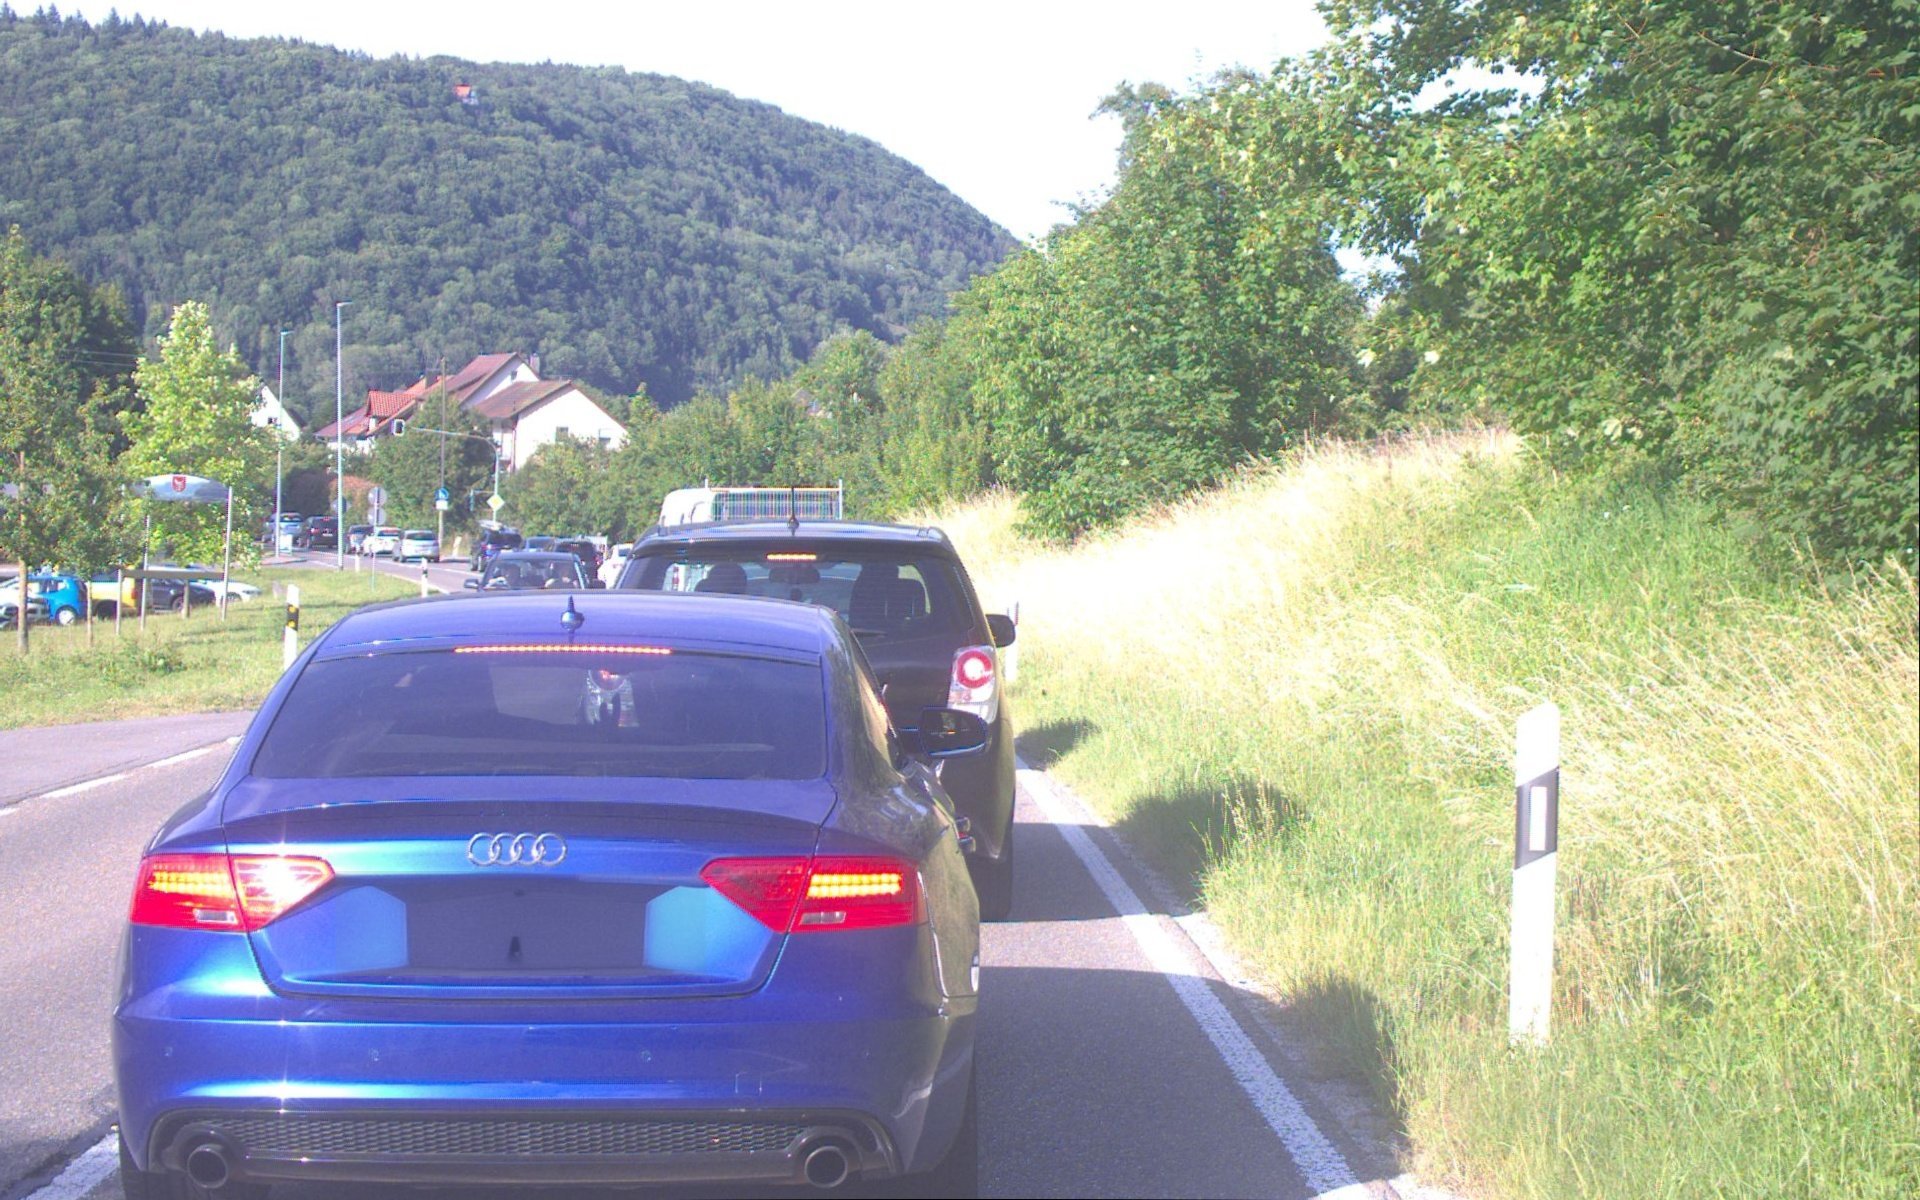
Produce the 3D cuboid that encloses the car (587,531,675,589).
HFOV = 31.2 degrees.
[{"bbox_3d":[-8.638,-1.049,90.091,1.845,1.477,4.001,1,1,-12],"label":"car"}]

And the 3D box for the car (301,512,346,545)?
[{"bbox_3d":[-34.283,-3.821,185.078,1.845,1.706,4.001,1,1,-18],"label":"car"}]

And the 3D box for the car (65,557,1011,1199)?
[{"bbox_3d":[-0.782,0.626,8.347,1.754,1.425,3.846,1,1,0],"label":"car"}]

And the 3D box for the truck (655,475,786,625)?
[{"bbox_3d":[-4.340,-0.893,62.547,2.229,2.561,6.708,1,1,-4],"label":"truck"}]

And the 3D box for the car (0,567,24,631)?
[{"bbox_3d":[-27.385,-0.055,92.293,3.986,1.705,2.000,1,0,-3],"label":"car"}]

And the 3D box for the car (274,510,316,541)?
[{"bbox_3d":[-37.643,-4.188,194.506,1.845,1.706,4.001,1,1,-18],"label":"car"}]

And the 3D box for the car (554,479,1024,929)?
[{"bbox_3d":[-0.637,0.373,14.893,1.754,1.675,3.846,1,0,0],"label":"car"}]

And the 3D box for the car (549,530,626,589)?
[{"bbox_3d":[-11.160,-1.201,102.812,1.845,1.706,4.001,1,1,-13],"label":"car"}]

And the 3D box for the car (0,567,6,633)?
[{"bbox_3d":[-26.862,-0.014,88.636,3.986,1.705,2.000,1,0,-3],"label":"car"}]

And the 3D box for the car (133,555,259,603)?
[{"bbox_3d":[-26.336,-0.728,118.599,3.986,1.573,1.753,1,0,-3],"label":"car"}]

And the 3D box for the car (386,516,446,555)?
[{"bbox_3d":[-24.413,-2.864,154.144,1.845,1.706,4.001,1,1,-21],"label":"car"}]

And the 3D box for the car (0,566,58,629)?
[{"bbox_3d":[-27.323,-0.085,95.577,3.986,1.705,2.000,1,0,-3],"label":"car"}]

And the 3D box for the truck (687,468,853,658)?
[{"bbox_3d":[-2.757,-0.535,49.849,2.229,2.561,6.104,1,1,-3],"label":"truck"}]

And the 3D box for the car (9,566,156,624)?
[{"bbox_3d":[-26.533,-0.153,104.039,3.986,1.705,2.000,1,0,-3],"label":"car"}]

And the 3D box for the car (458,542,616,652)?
[{"bbox_3d":[-5.761,-0.053,47.207,1.704,1.425,4.051,1,1,-1],"label":"car"}]

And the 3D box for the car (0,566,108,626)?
[{"bbox_3d":[-27.333,-0.139,101.364,3.986,1.705,2.000,1,0,-3],"label":"car"}]

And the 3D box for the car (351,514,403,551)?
[{"bbox_3d":[-27.803,-3.214,163.925,1.845,1.706,4.001,1,1,-18],"label":"car"}]

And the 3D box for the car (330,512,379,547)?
[{"bbox_3d":[-30.595,-3.551,173.737,1.845,1.706,4.001,1,1,-18],"label":"car"}]
